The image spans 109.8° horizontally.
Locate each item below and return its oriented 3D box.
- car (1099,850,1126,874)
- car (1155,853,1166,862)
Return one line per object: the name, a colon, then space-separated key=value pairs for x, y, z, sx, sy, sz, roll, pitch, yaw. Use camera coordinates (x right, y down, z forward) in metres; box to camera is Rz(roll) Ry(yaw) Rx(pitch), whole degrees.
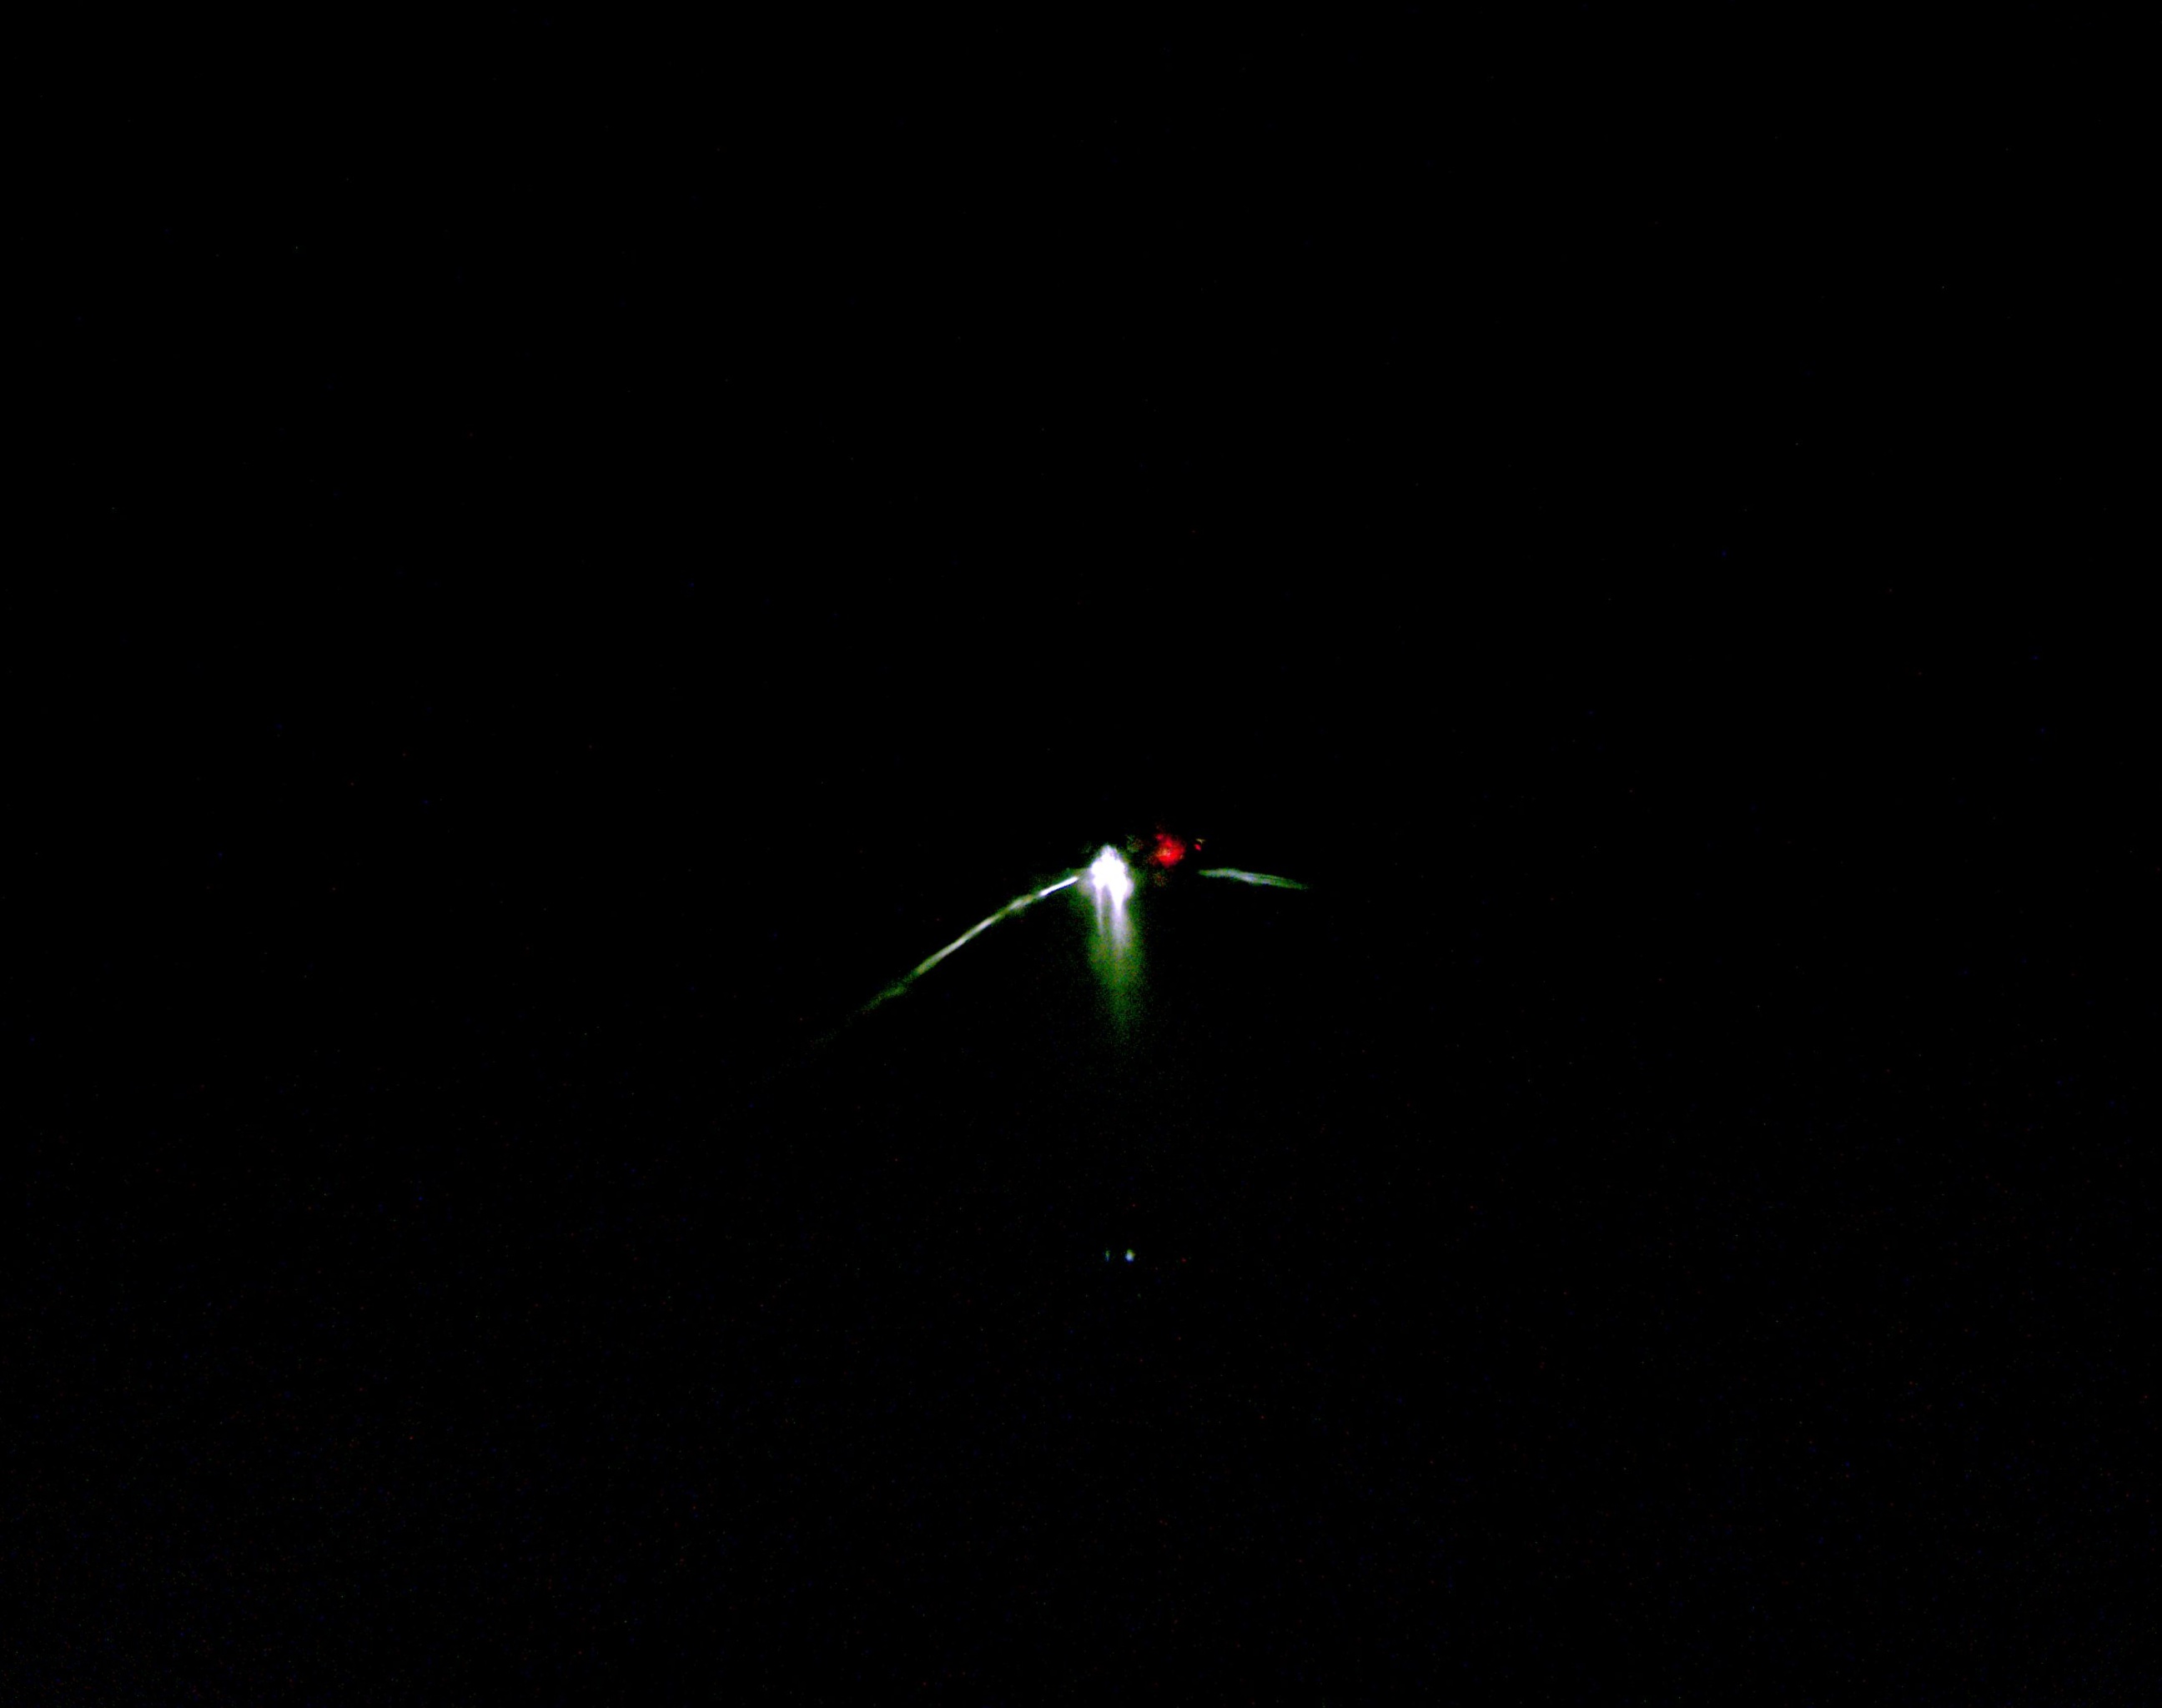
car: x=2.509 y=0.606 z=59.695 sx=1.998 sy=1.804 sz=4.001 roll=-1 pitch=0 yaw=4
car: x=14.530 y=0.632 z=138.269 sx=1.859 sy=1.512 sz=4.683 roll=-2 pitch=0 yaw=7
